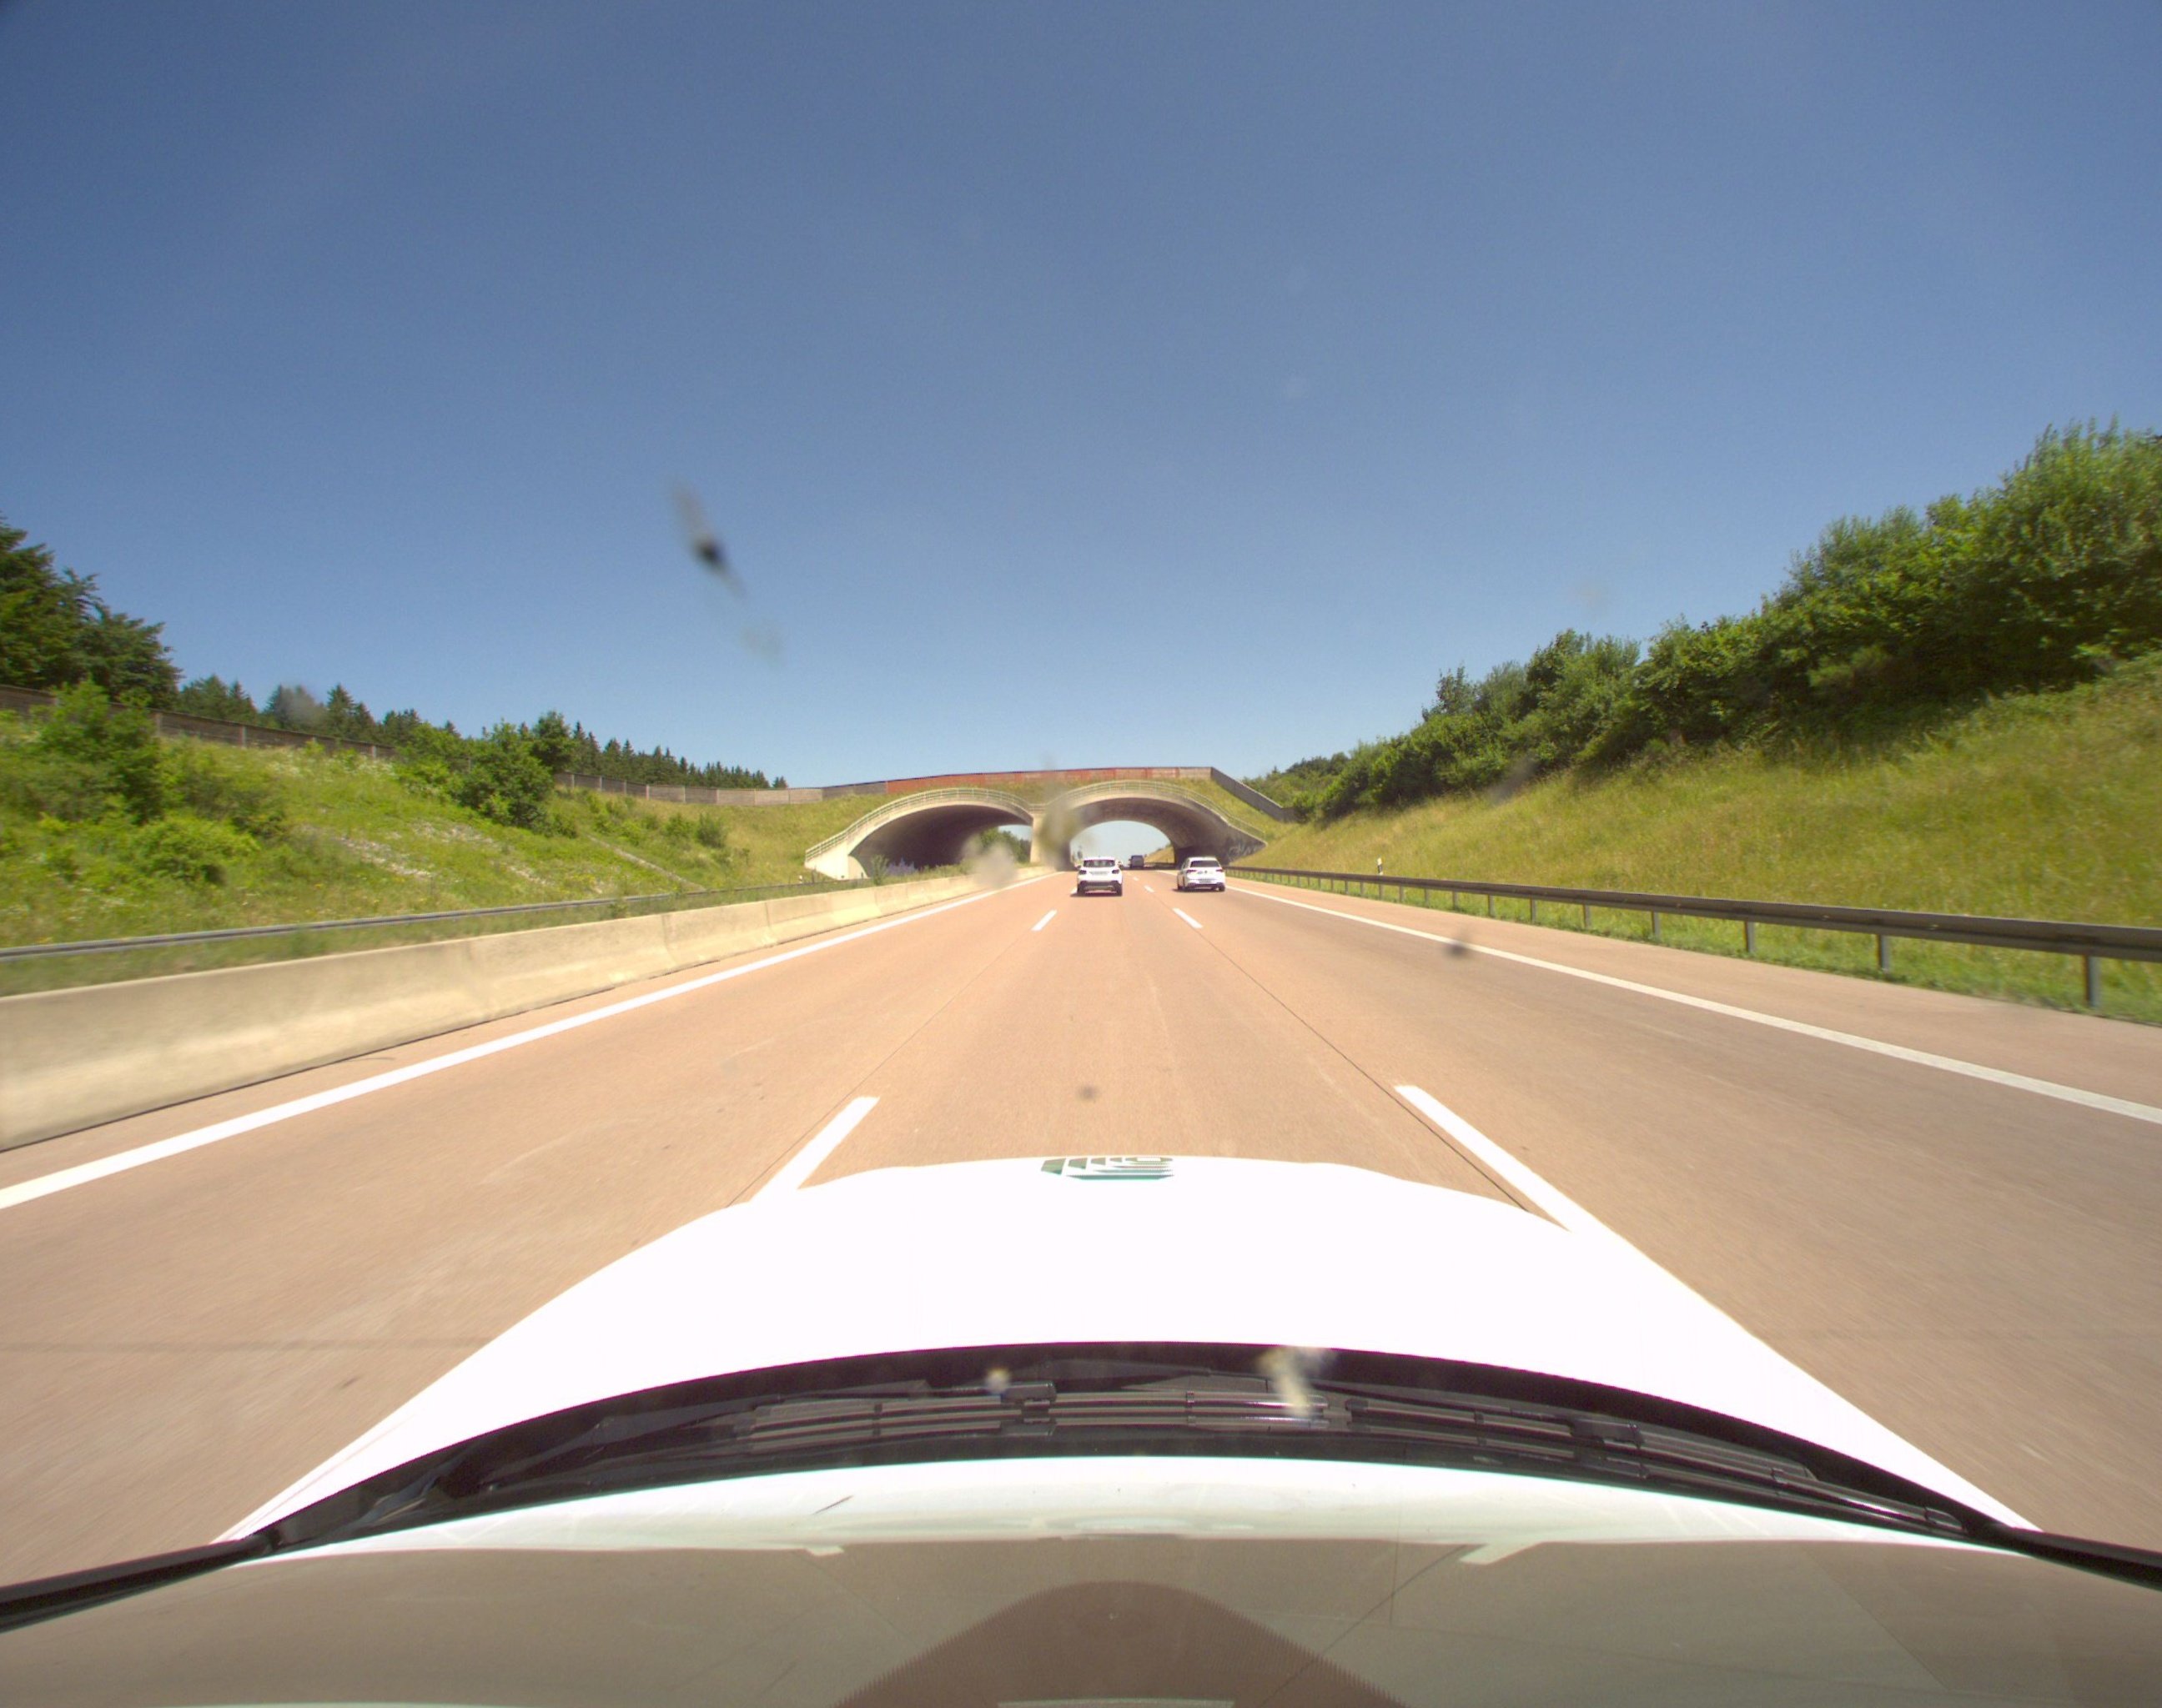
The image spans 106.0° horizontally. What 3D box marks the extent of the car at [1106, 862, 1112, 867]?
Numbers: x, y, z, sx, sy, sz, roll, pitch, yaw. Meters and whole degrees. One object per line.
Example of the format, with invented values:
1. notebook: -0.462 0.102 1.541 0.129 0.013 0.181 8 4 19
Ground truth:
1. car: 8.722 3.127 253.078 1.883 1.463 4.002 0 0 2

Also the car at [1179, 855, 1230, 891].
1. car: 5.306 0.777 35.403 1.882 1.398 4.004 0 1 4

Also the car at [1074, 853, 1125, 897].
1. car: 0.776 0.791 33.149 1.872 1.607 4.836 -1 0 2

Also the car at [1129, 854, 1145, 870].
1. car: 7.821 1.139 113.340 2.101 2.053 4.005 -1 1 4
